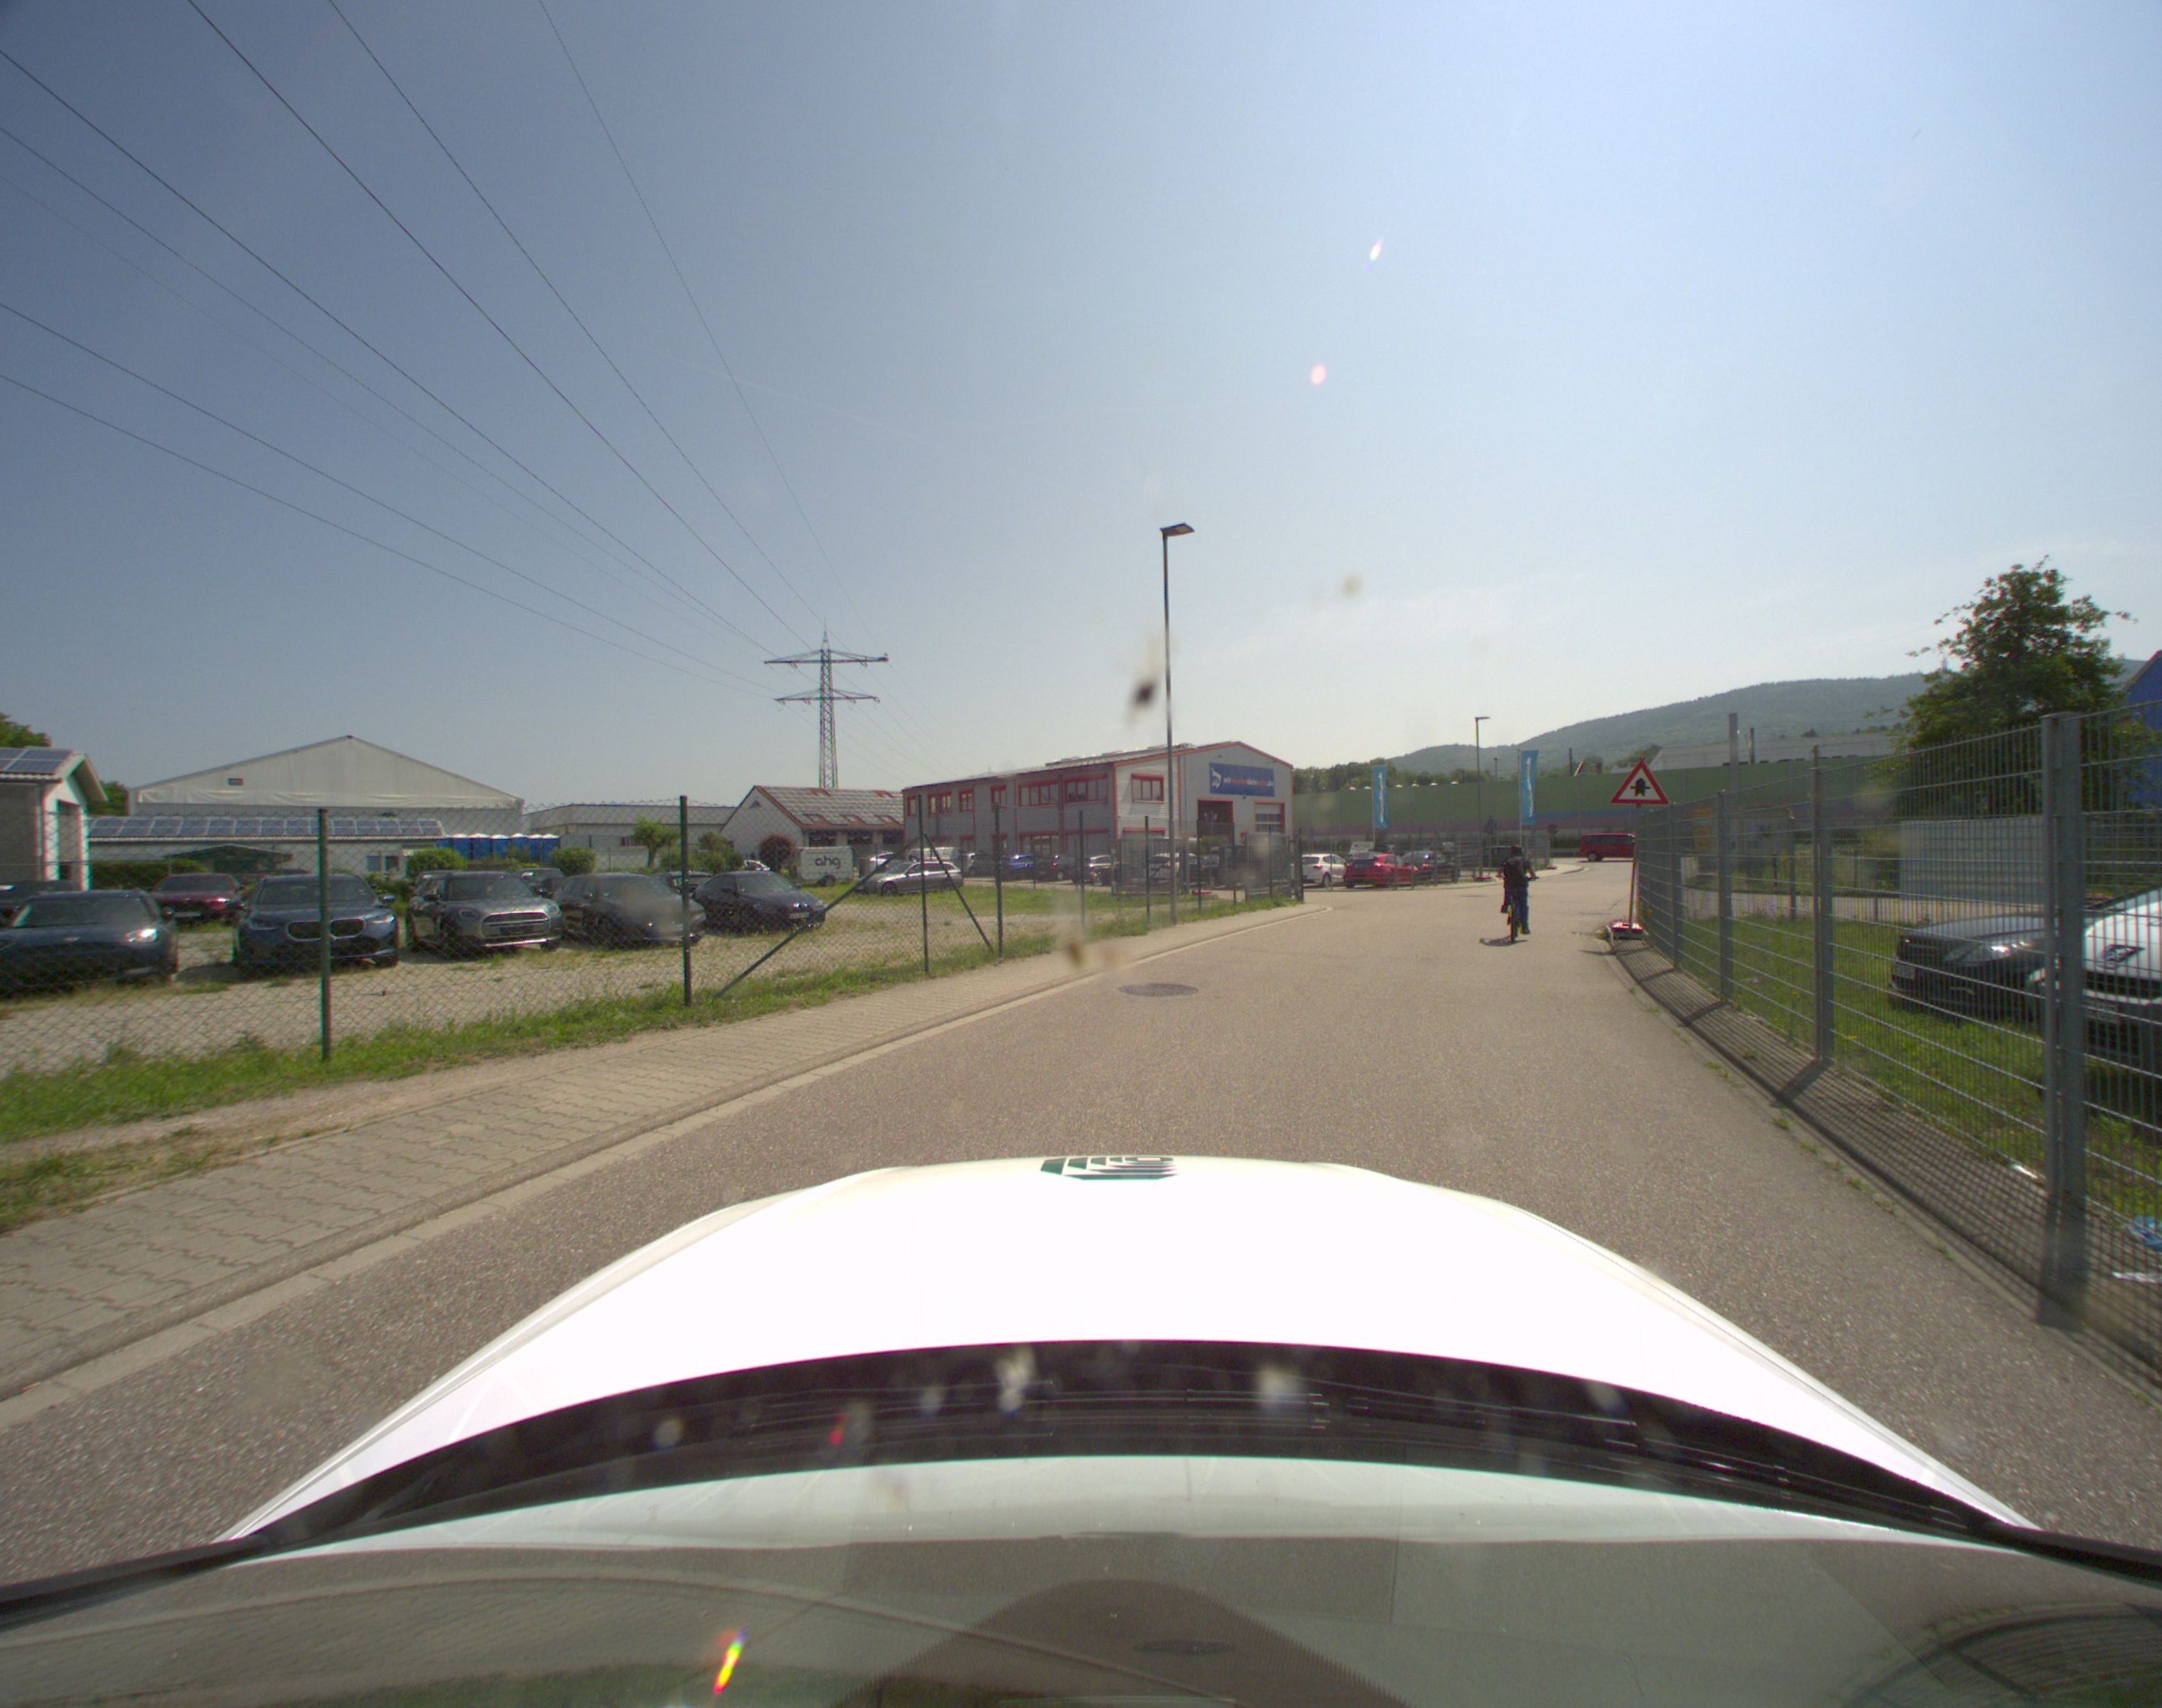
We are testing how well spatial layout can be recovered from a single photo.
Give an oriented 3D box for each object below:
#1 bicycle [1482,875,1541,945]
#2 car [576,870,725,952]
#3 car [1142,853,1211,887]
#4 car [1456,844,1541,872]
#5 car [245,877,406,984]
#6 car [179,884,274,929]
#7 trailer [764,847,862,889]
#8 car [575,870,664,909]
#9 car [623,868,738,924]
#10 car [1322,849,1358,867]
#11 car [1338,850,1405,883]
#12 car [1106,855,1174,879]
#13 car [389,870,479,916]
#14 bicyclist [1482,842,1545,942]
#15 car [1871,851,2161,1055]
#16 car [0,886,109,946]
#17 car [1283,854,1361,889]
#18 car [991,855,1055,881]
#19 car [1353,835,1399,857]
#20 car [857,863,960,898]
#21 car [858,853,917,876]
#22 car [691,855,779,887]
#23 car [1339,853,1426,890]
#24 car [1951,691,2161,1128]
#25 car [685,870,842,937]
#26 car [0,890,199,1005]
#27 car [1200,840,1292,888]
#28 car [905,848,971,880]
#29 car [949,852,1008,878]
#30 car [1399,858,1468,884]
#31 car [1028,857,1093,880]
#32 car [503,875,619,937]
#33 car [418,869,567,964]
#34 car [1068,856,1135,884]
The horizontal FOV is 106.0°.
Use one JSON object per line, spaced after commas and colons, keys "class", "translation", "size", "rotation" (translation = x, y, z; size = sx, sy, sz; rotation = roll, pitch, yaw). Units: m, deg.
{"class": "bicycle", "translation": [7.398, 0.917, 13.952], "size": [0.678, 1.051, 1.913], "rotation": [0, 0, 34]}
{"class": "car", "translation": [-9.578, 1.166, 18.000], "size": [1.879, 1.554, 3.723], "rotation": [-1, -1, -45]}
{"class": "car", "translation": [4.819, 0.760, 40.720], "size": [1.489, 1.540, 3.625], "rotation": [-1, 0, 45]}
{"class": "car", "translation": [24.228, 0.238, 47.349], "size": [2.011, 1.492, 3.952], "rotation": [-2, 0, -41]}
{"class": "car", "translation": [-13.334, 1.222, 14.359], "size": [1.879, 1.561, 3.651], "rotation": [-1, -1, -45]}
{"class": "car", "translation": [-26.317, 1.560, 25.195], "size": [1.879, 1.175, 4.547], "rotation": [-1, 0, -45]}
{"class": "trailer", "translation": [-13.618, 0.677, 41.404], "size": [4.475, 1.945, 1.698], "rotation": [-2, 0, -30]}
{"class": "car", "translation": [-18.861, 1.407, 33.201], "size": [2.014, 1.435, 4.607], "rotation": [-1, 0, -45]}
{"class": "car", "translation": [-11.950, 1.157, 24.158], "size": [2.012, 1.435, 4.369], "rotation": [-1, 0, -41]}
{"class": "car", "translation": [25.564, 0.342, 80.421], "size": [4.023, 1.657, 1.683], "rotation": [-2, 0, -44]}
{"class": "car", "translation": [14.012, 0.584, 39.187], "size": [1.470, 1.454, 3.917], "rotation": [-1, 0, 45]}
{"class": "car", "translation": [3.112, 0.660, 42.259], "size": [1.489, 1.151, 3.625], "rotation": [-1, 0, 45]}
{"class": "car", "translation": [-23.095, 1.330, 29.005], "size": [2.014, 1.435, 4.607], "rotation": [-1, 0, -45]}
{"class": "bicyclist", "translation": [7.369, 0.626, 13.856], "size": [0.834, 1.618, 1.046], "rotation": [-1, -1, 34]}
{"class": "car", "translation": [8.984, 0.659, 5.842], "size": [4.379, 1.360, 1.918], "rotation": [-1, 0, 27]}
{"class": "car", "translation": [-28.496, 1.648, 22.359], "size": [1.879, 1.433, 4.547], "rotation": [-1, -1, -45]}
{"class": "car", "translation": [10.643, 0.752, 35.870], "size": [1.729, 1.405, 3.625], "rotation": [-1, 0, 45]}
{"class": "car", "translation": [-3.348, 0.794, 47.415], "size": [1.489, 1.416, 3.625], "rotation": [-1, 0, 45]}
{"class": "car", "translation": [23.283, -0.639, 64.249], "size": [1.975, 1.581, 4.024], "rotation": [-1, 0, 43]}
{"class": "car", "translation": [-7.062, 1.058, 33.705], "size": [1.220, 1.261, 4.167], "rotation": [-1, 0, 45]}
{"class": "car", "translation": [-13.961, 0.760, 58.914], "size": [1.489, 1.516, 3.930], "rotation": [-1, 0, 45]}
{"class": "car", "translation": [-18.793, 0.909, 44.350], "size": [4.022, 1.598, 1.854], "rotation": [-1, 0, -43]}
{"class": "car", "translation": [12.630, 0.688, 34.036], "size": [1.852, 1.386, 4.137], "rotation": [-1, 0, 45]}
{"class": "car", "translation": [8.047, 0.217, 3.670], "size": [5.278, 2.149, 1.918], "rotation": [-1, 0, 24]}
{"class": "car", "translation": [-8.109, 1.164, 20.563], "size": [2.014, 1.435, 4.607], "rotation": [-1, 0, -45]}
{"class": "car", "translation": [-15.279, 1.335, 12.713], "size": [1.879, 1.433, 3.603], "rotation": [-1, -1, -45]}
{"class": "car", "translation": [7.596, 0.434, 37.192], "size": [1.932, 2.030, 4.544], "rotation": [-1, 0, 45]}
{"class": "car", "translation": [-9.369, 0.616, 53.642], "size": [1.801, 1.978, 3.930], "rotation": [-1, 0, 45]}
{"class": "car", "translation": [-6.584, 0.695, 52.504], "size": [1.489, 1.544, 3.625], "rotation": [-1, 0, 45]}
{"class": "car", "translation": [16.065, 0.749, 37.006], "size": [1.470, 1.007, 4.138], "rotation": [-1, 0, 45]}
{"class": "car", "translation": [-1.120, 0.801, 45.888], "size": [1.489, 1.151, 3.625], "rotation": [-1, 0, 45]}
{"class": "car", "translation": [-14.210, 1.329, 22.176], "size": [2.011, 1.420, 3.952], "rotation": [-2, 0, -42]}
{"class": "car", "translation": [-11.903, 1.153, 16.392], "size": [1.879, 1.644, 3.589], "rotation": [-1, -1, -45]}
{"class": "car", "translation": [1.122, 0.825, 43.340], "size": [1.489, 1.381, 3.625], "rotation": [-1, 0, 45]}
